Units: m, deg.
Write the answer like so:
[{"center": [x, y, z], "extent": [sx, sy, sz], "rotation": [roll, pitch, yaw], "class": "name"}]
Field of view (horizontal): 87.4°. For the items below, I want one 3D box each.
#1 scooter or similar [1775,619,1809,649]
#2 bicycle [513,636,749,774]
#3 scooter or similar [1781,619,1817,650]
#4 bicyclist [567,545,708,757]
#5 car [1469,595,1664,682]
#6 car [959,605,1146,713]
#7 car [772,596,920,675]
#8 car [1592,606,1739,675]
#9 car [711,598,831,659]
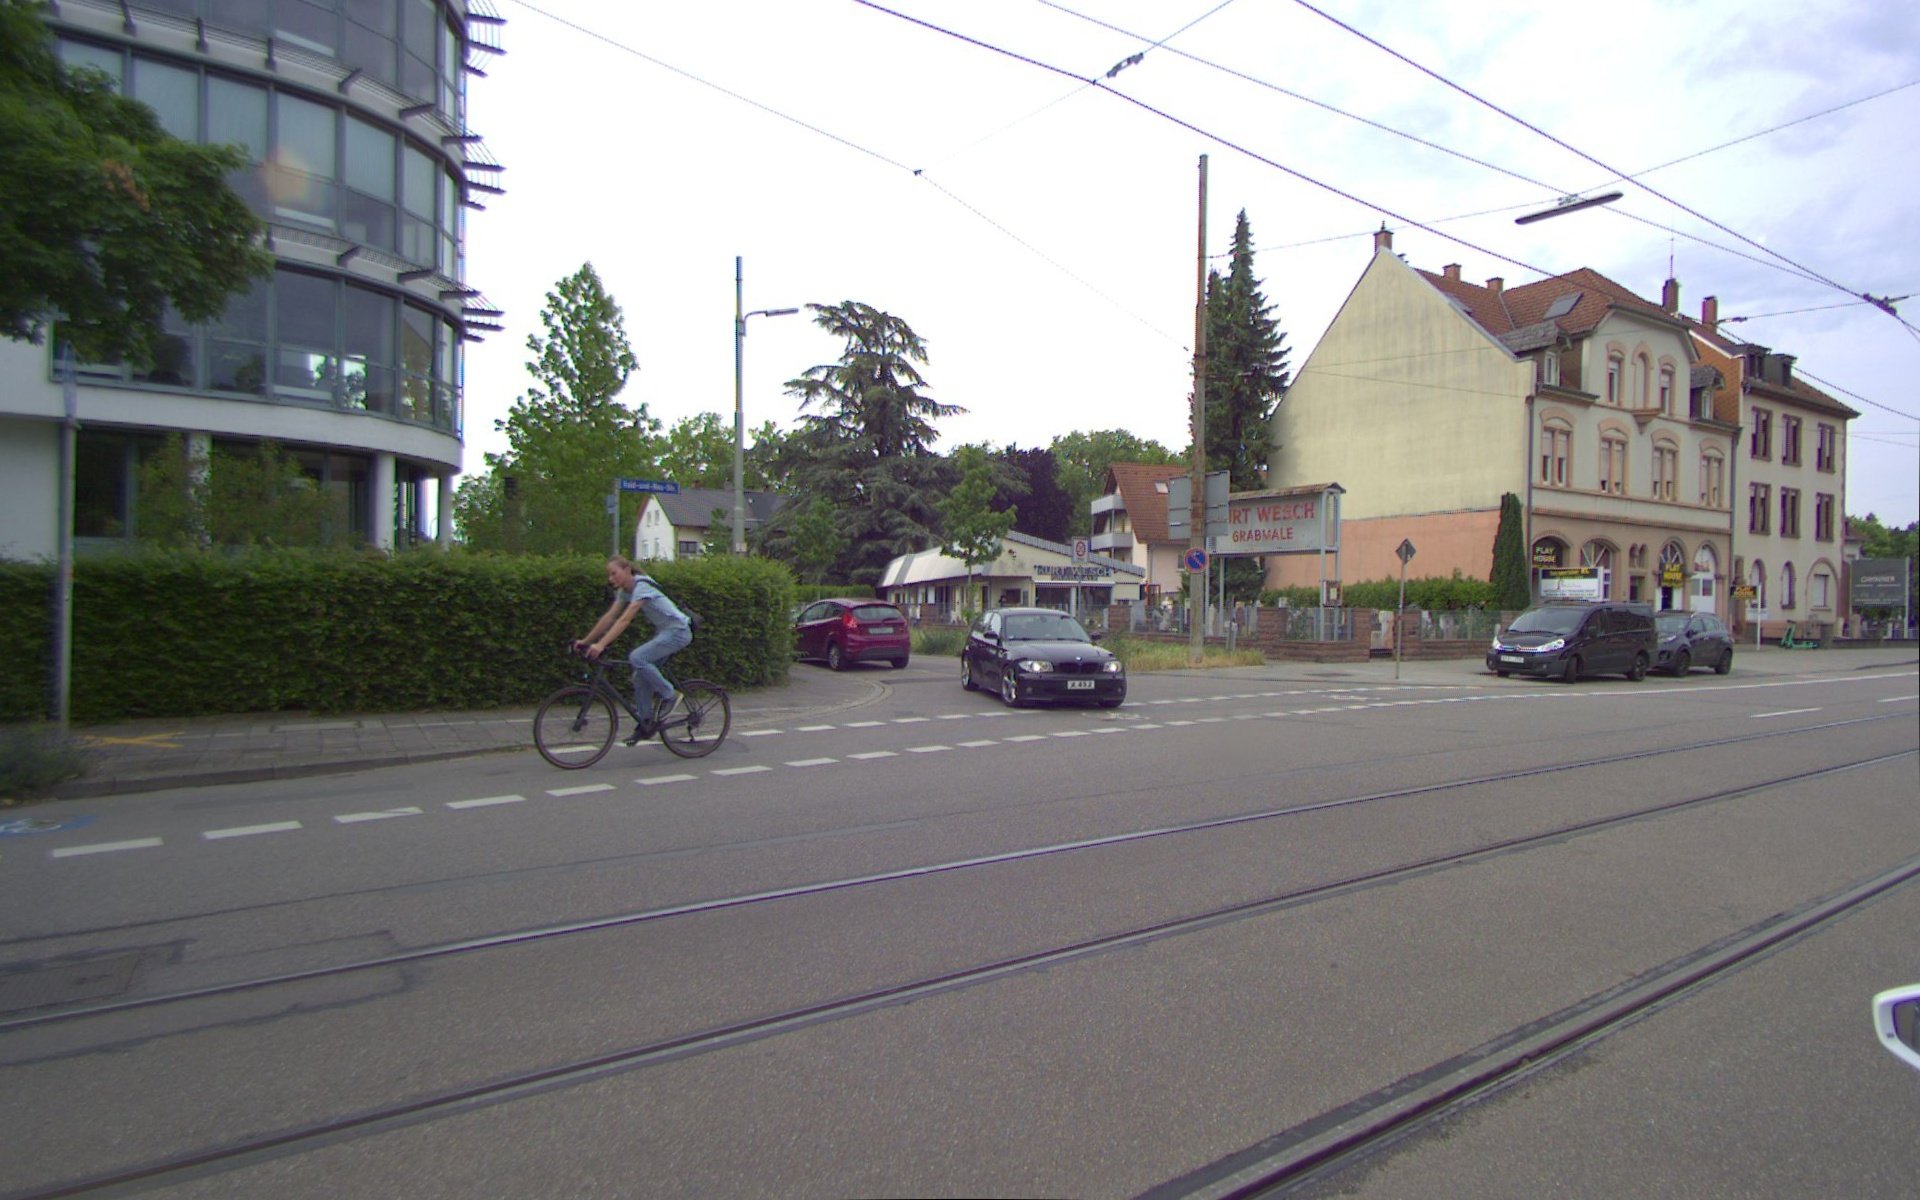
[{"center": [35.028, 1.428, 42.289], "extent": [1.032, 1.204, 0.318], "rotation": [2, 1, 25], "class": "scooter or similar"}, {"center": [-2.886, 0.875, 8.978], "extent": [1.944, 1.088, 0.581], "rotation": [1, -2, -44], "class": "bicycle"}, {"center": [34.839, 1.425, 41.717], "extent": [1.032, 1.204, 0.318], "rotation": [2, 1, 25], "class": "scooter or similar"}, {"center": [-2.881, 0.439, 8.988], "extent": [0.972, 1.772, 0.728], "rotation": [1, -1, -44], "class": "bicyclist"}, {"center": [14.914, 0.916, 24.623], "extent": [4.941, 1.912, 1.981], "rotation": [2, 1, -31], "class": "car"}, {"center": [1.270, 0.807, 15.492], "extent": [1.771, 1.406, 3.923], "rotation": [1, 0, -12], "class": "car"}, {"center": [-2.550, 0.686, 21.722], "extent": [1.749, 1.437, 3.687], "rotation": [-1, 2, -33], "class": "car"}, {"center": [19.602, 1.103, 27.877], "extent": [4.147, 1.741, 1.834], "rotation": [2, 1, -32], "class": "car"}, {"center": [-4.924, 0.704, 25.758], "extent": [1.811, 1.439, 3.968], "rotation": [2, -1, -30], "class": "car"}]
